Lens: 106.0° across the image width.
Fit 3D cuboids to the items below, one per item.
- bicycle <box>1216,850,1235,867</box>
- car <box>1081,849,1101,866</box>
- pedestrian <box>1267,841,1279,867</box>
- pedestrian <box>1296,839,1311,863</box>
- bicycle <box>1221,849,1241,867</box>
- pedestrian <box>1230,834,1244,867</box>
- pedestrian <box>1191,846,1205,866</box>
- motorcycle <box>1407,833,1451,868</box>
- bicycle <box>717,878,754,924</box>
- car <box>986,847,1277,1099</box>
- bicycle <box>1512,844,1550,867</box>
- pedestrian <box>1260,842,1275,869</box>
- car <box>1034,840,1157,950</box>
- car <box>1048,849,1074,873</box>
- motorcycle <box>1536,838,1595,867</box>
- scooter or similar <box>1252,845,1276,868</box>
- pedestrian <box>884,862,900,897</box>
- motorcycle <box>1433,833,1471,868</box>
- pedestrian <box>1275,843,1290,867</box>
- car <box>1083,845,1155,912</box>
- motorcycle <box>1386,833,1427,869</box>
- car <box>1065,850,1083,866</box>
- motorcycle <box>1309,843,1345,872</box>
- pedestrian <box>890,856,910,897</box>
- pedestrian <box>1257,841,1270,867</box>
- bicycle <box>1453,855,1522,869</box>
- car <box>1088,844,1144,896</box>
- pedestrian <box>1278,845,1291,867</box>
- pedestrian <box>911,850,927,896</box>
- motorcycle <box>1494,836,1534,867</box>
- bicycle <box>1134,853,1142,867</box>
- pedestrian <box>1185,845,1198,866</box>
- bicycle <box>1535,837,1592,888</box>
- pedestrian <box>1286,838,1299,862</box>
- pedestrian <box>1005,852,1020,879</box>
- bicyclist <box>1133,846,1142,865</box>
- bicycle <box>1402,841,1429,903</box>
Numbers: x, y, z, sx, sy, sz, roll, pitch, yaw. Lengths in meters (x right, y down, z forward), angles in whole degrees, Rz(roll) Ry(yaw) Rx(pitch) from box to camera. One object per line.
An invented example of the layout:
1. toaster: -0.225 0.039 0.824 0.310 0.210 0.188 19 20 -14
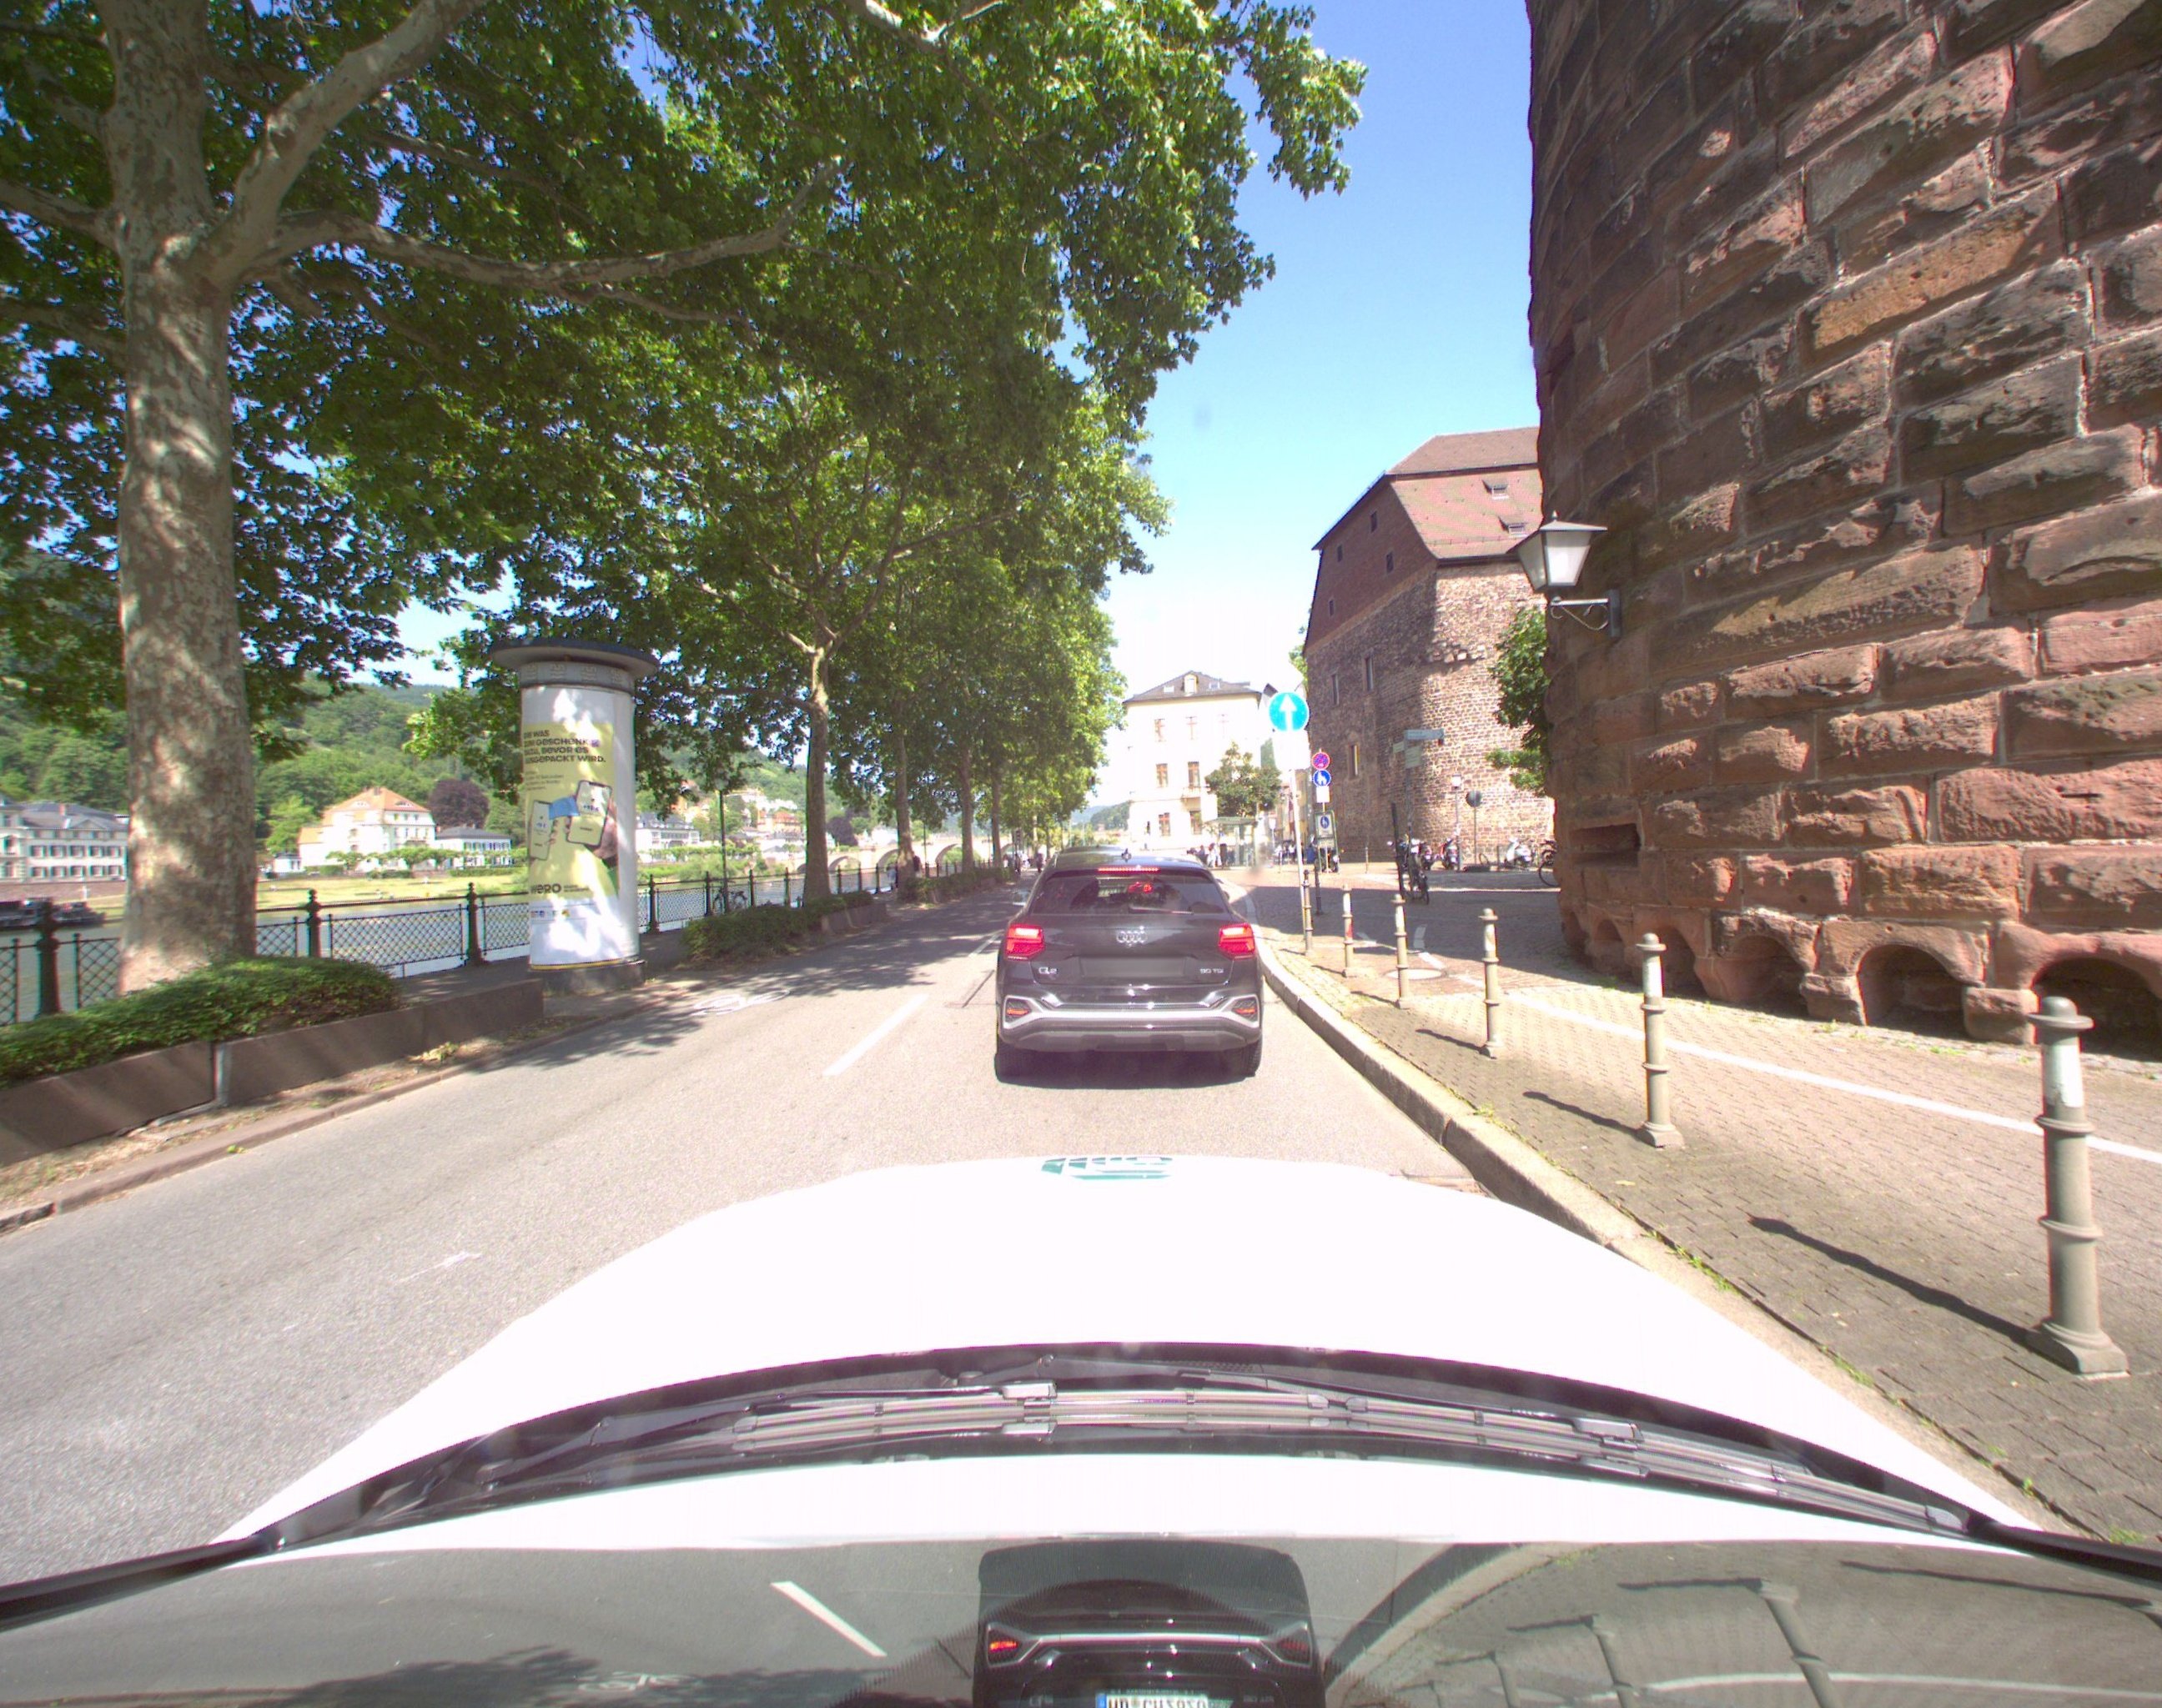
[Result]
1. bicycle: 8.822 0.259 49.559 1.187 1.016 0.178 0 -1 -17
2. car: 1.140 0.409 90.700 1.985 1.806 4.003 -1 -1 3
3. pedestrian: 17.420 -0.012 73.790 0.876 2.358 0.745 0 -1 1
4. pedestrian: 15.206 -0.203 55.633 0.688 1.612 0.892 -4 0 1
5. bicycle: 9.015 0.248 48.915 1.205 1.035 0.178 0 -1 -17
6. pedestrian: 8.038 -0.163 41.899 0.650 1.662 0.812 -3 0 10
7. pedestrian: 6.930 0.116 48.168 0.662 1.211 0.640 0 -1 -5
8. motorcycle: 12.858 -0.126 30.175 0.672 1.235 2.313 0 -1 2
9. bicycle: -8.887 1.184 20.961 0.358 1.091 1.296 1 0 1
10. car: 0.359 0.702 6.720 1.736 1.509 3.649 0 0 2
11. bicycle: 16.629 0.053 30.145 0.352 0.820 1.926 0 1 1
12. pedestrian: 14.291 0.105 62.463 0.939 2.014 0.806 0 -1 -6
13. car: 0.260 0.592 13.578 1.786 1.595 3.400 0 0 2
14. car: -1.488 0.525 63.219 1.667 1.660 4.224 -5 0 1
15. motorcycle: 18.277 -0.045 30.724 1.854 1.054 0.481 -1 -1 9
16. scooter or similar: 8.851 0.118 39.335 1.085 1.066 0.323 0 -1 -1
17. pedestrian: -7.507 1.021 32.302 0.476 1.362 0.418 -1 0 5
18. motorcycle: 13.722 -0.113 30.183 0.544 1.235 2.031 0 -1 2
19. pedestrian: 12.787 0.077 51.601 0.637 1.444 0.797 -3 0 -5
20. car: 0.986 0.591 21.700 1.704 1.609 3.656 -1 0 2
21. motorcycle: 11.915 -0.087 29.919 0.653 1.266 2.201 -2 -1 2
22. car: -0.731 0.428 89.471 1.762 1.660 4.001 -4 0 1
23. motorcycle: 9.056 0.126 30.063 0.564 1.012 2.490 -2 0 1
24. pedestrian: -7.551 0.924 33.960 0.599 1.685 0.583 -3 0 0
25. pedestrian: 9.562 0.010 42.664 0.555 1.385 0.588 -1 -1 4
26. bicycle: 13.622 0.269 27.343 1.914 0.381 0.921 -2 -1 16
27. car: 1.183 0.507 28.234 1.788 1.682 4.002 -1 0 2
28. pedestrian: 18.452 0.175 73.942 0.941 2.014 0.808 0 -1 2
29. pedestrian: -6.711 0.787 33.720 0.532 1.887 0.437 -2 0 1
30. motorcycle: 15.475 -0.081 29.161 0.505 1.073 1.841 0 -1 2
31. bicycle: 4.354 0.456 62.475 0.436 1.086 1.675 0 -1 -2
32. pedestrian: 6.630 0.099 48.873 0.662 1.231 0.640 0 -1 -5
33. bicycle: 11.531 0.179 19.514 0.444 1.162 1.733 -2 0 5
34. pedestrian: 14.462 -0.255 55.653 0.605 1.619 0.711 -4 -1 1
35. pedestrian: -4.668 0.803 55.468 0.906 1.811 0.587 -1 -1 6
36. bicyclist: 4.353 0.133 62.484 0.604 1.450 0.590 0 -1 -3
37. bicycle: 6.851 0.334 16.714 0.192 1.203 1.775 -2 1 13
